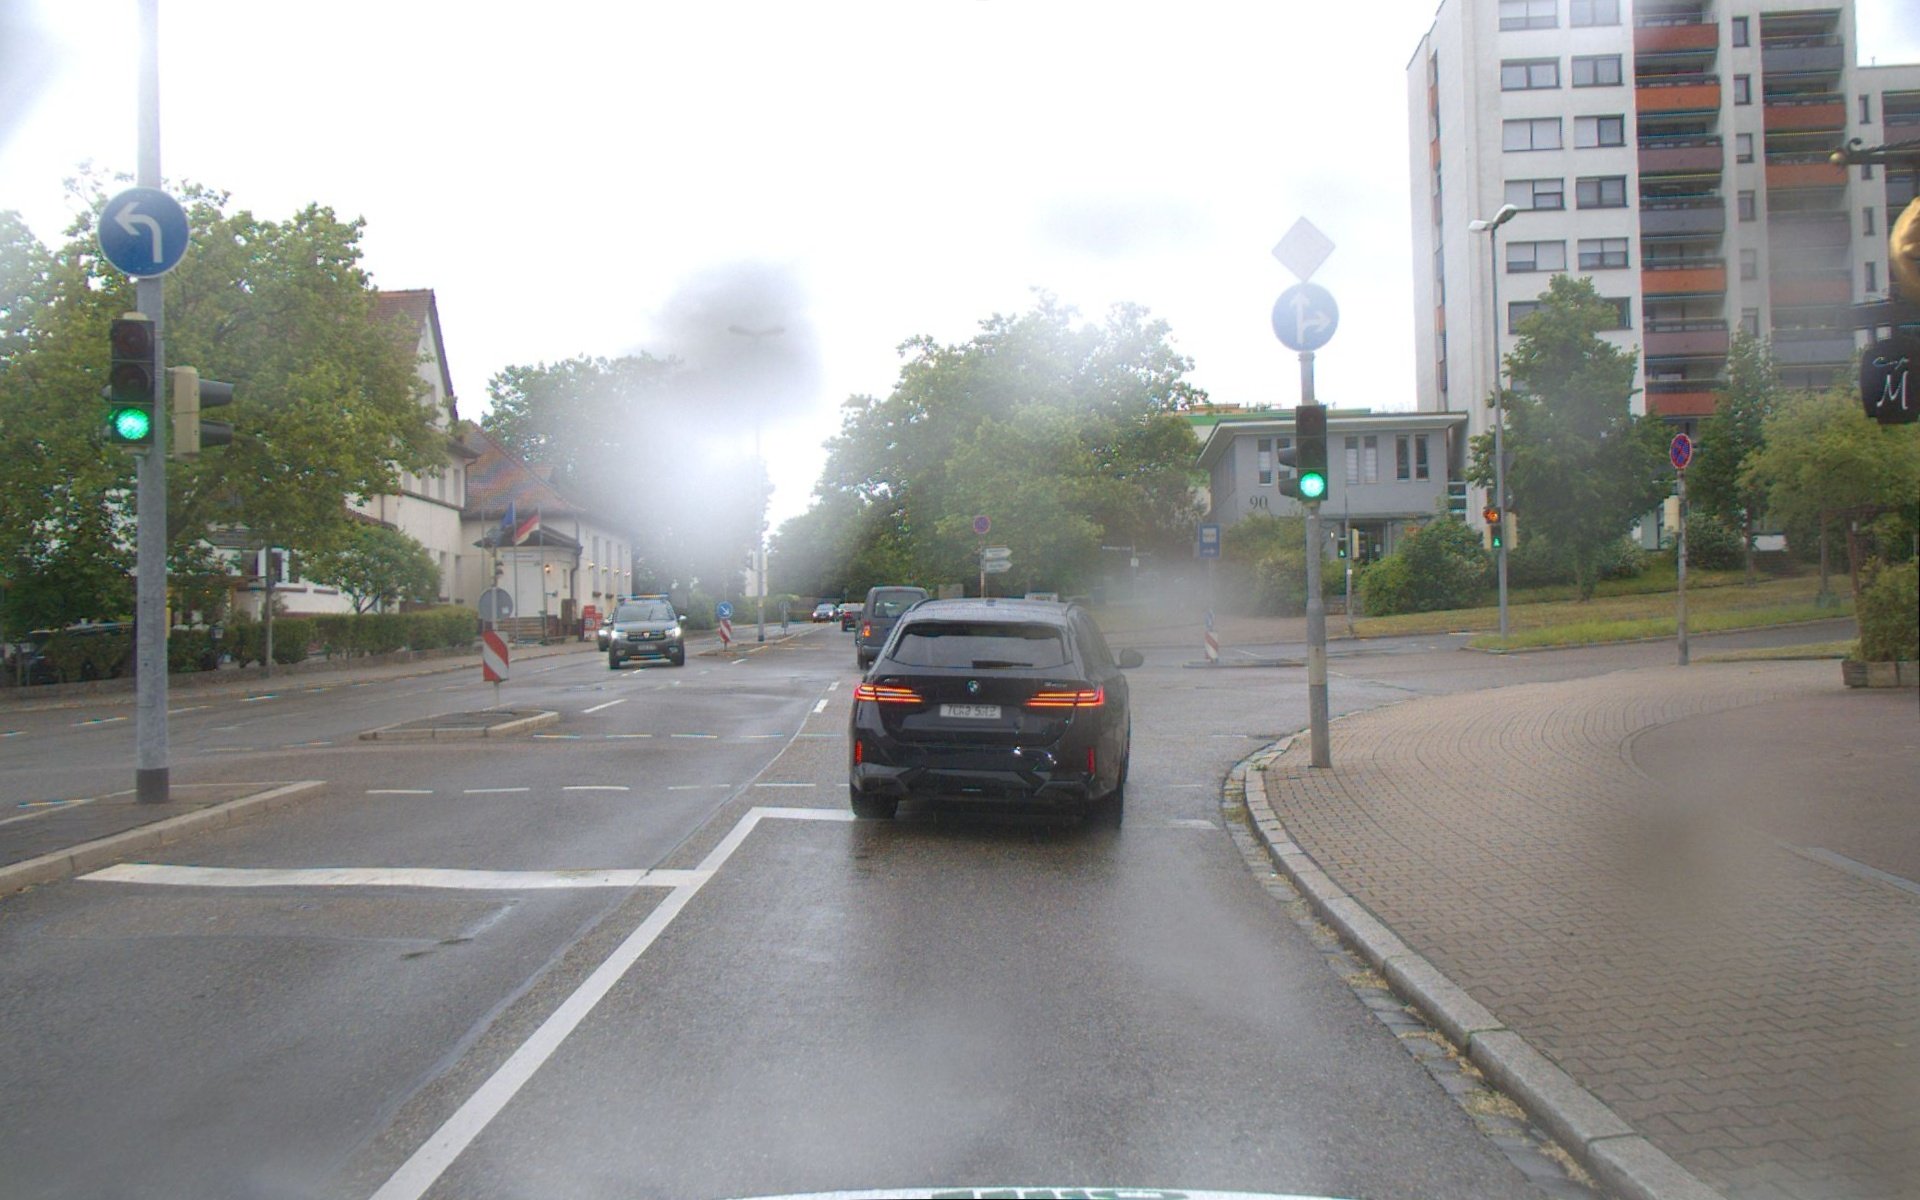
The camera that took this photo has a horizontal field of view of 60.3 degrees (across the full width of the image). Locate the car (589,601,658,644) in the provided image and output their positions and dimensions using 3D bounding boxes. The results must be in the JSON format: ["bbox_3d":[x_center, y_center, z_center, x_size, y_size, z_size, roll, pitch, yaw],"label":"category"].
[{"bbox_3d":[-12.376,0.802,61.038,1.871,1.452,4.412,-2,0,-4],"label":"car"}]

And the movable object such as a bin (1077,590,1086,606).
[{"bbox_3d":[6.956,-0.094,94.595,0.440,0.921,0.463,0,-1,14],"label":"movable object such as a bin"}]

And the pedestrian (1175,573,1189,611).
[{"bbox_3d":[9.686,-0.333,72.131,0.588,1.645,0.526,0,-1,6],"label":"pedestrian"}]

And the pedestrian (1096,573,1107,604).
[{"bbox_3d":[8.449,-0.683,98.825,0.546,1.794,0.727,0,-1,-5],"label":"pedestrian"}]

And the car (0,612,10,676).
[{"bbox_3d":[-31.791,1.385,51.810,1.955,2.049,3.996,0,-1,-5],"label":"car"}]

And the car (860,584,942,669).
[{"bbox_3d":[-1.400,0.609,38.088,1.776,1.840,3.753,0,-1,-4],"label":"car"}]

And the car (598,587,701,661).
[{"bbox_3d":[-7.342,0.528,39.527,1.861,1.605,4.499,-2,0,-4],"label":"car"}]

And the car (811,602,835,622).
[{"bbox_3d":[-10.979,0.942,133.112,1.757,1.554,4.206,-2,0,-3],"label":"car"}]

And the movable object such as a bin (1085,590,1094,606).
[{"bbox_3d":[7.417,-0.093,94.468,0.440,0.921,0.463,0,-1,14],"label":"movable object such as a bin"}]

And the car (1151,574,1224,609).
[{"bbox_3d":[12.504,-0.451,90.980,3.902,1.848,2.001,0,-1,7],"label":"car"}]

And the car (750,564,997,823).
[{"bbox_3d":[-0.641,0.594,11.825,1.494,1.561,3.529,0,-1,-4],"label":"car"}]
